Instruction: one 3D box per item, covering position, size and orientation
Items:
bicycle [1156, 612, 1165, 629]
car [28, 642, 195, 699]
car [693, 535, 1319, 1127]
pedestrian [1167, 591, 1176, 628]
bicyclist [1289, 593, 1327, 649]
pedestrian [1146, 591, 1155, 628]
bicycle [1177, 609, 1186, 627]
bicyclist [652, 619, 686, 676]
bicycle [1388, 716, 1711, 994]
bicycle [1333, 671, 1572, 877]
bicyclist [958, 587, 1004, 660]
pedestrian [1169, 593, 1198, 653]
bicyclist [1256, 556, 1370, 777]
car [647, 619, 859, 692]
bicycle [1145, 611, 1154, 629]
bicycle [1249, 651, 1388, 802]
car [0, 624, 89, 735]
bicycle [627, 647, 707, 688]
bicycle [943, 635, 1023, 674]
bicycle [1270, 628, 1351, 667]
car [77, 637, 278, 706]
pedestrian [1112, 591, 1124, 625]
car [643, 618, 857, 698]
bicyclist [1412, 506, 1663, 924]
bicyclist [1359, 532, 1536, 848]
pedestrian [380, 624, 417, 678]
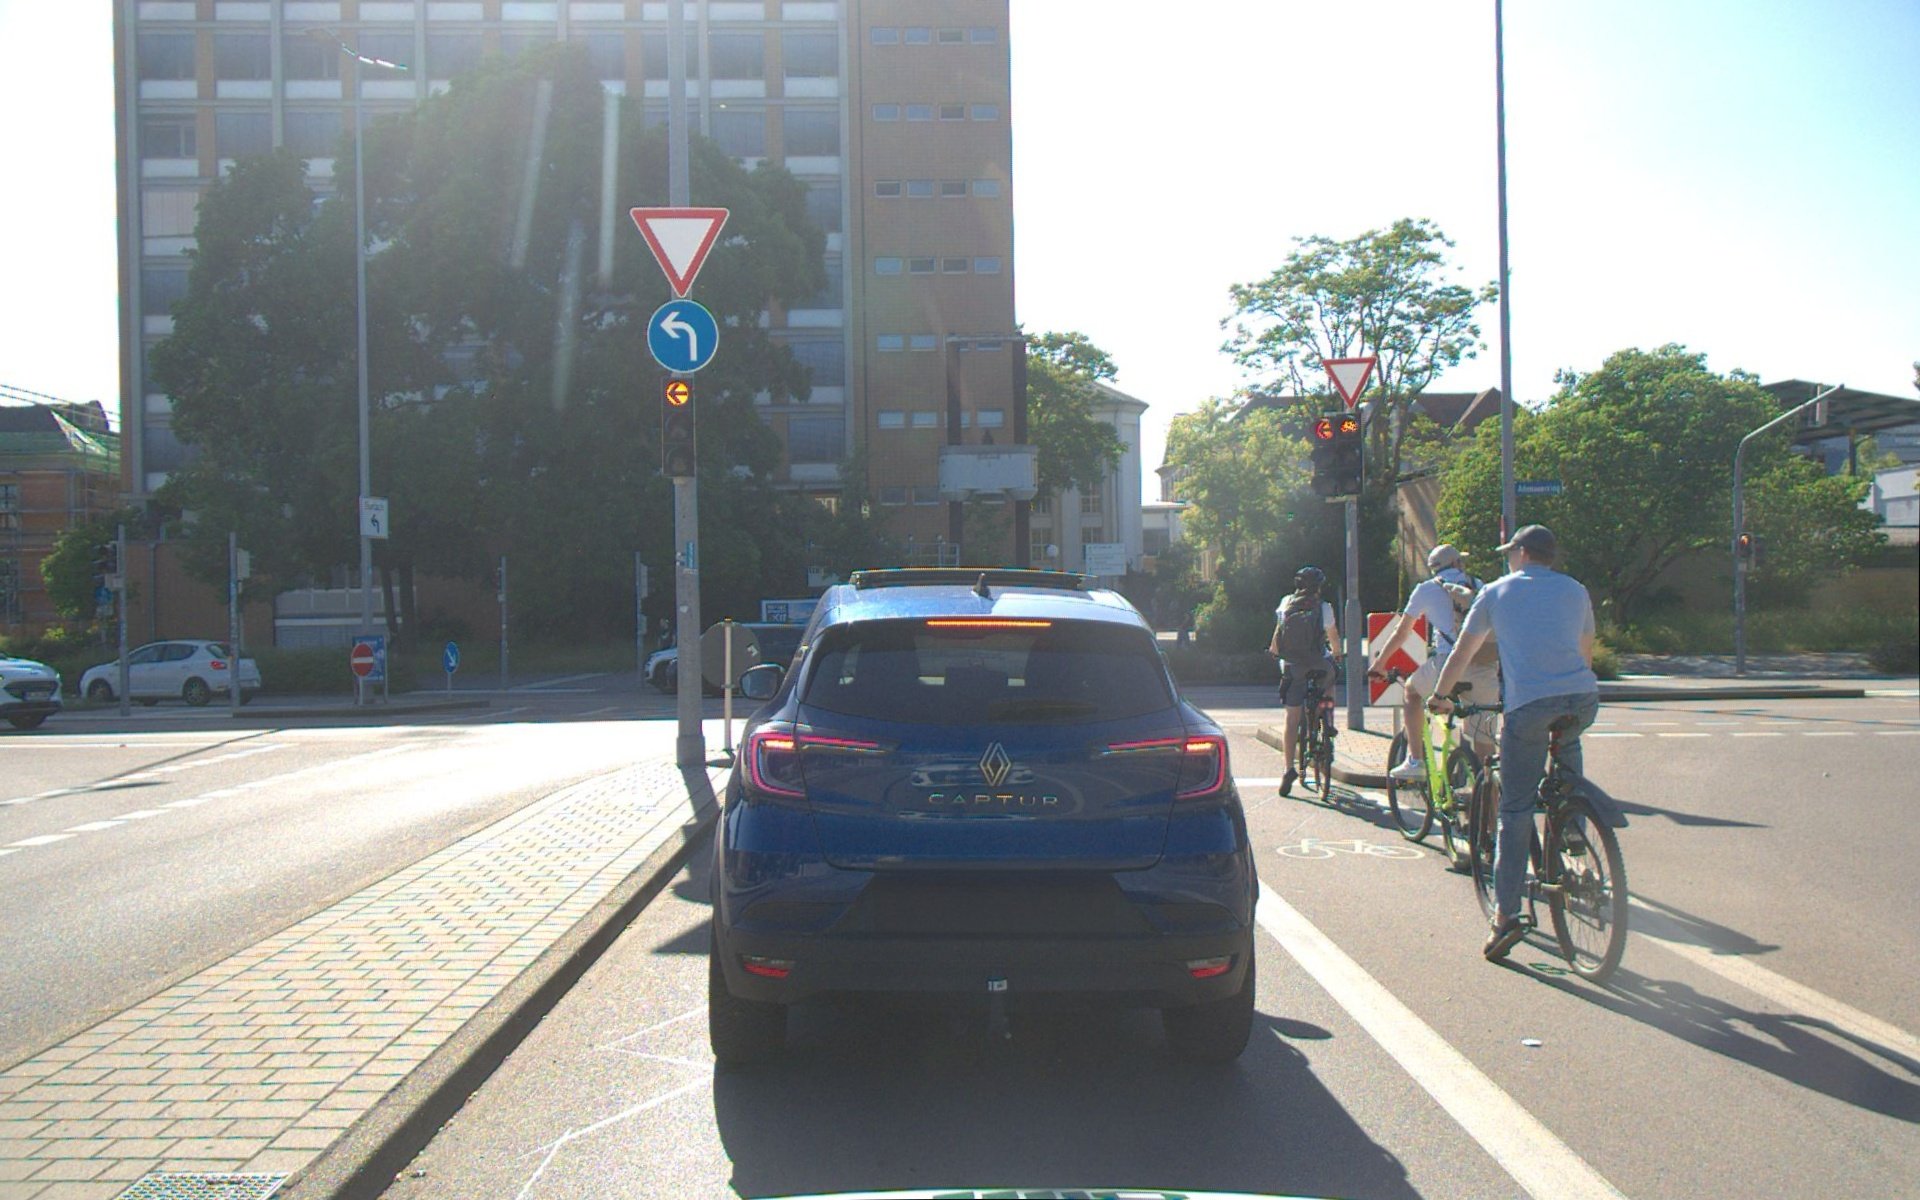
[{"bbox_3d":[11.400,1.155,94.193,0.397,0.990,1.684,1,0,3],"label":"bicycle"},{"bbox_3d":[-22.601,1.885,44.104,3.754,1.460,1.744,-1,-2,15],"label":"car"},{"bbox_3d":[0.056,0.659,6.686,1.767,1.660,3.998,1,0,-3],"label":"car"},{"bbox_3d":[11.823,0.539,92.566,0.465,2.049,0.468,-1,0,5],"label":"pedestrian"},{"bbox_3d":[9.173,0.543,43.585,0.916,1.454,0.599,-1,0,9],"label":"bicyclist"},{"bbox_3d":[10.507,0.511,91.215,0.465,2.049,0.523,-1,0,5],"label":"pedestrian"},{"bbox_3d":[12.676,1.033,94.593,0.397,0.990,1.684,1,0,3],"label":"bicycle"},{"bbox_3d":[-7.676,1.242,43.650,0.728,1.466,0.593,-1,0,-27],"label":"bicyclist"},{"bbox_3d":[2.498,1.039,7.278,0.725,0.911,1.978,1,0,0],"label":"bicycle"},{"bbox_3d":[2.866,0.979,9.849,0.646,1.020,1.967,1,0,-6],"label":"bicycle"},{"bbox_3d":[0.566,0.610,44.068,1.078,1.899,0.653,-1,1,10],"label":"bicyclist"},{"bbox_3d":[6.115,0.627,45.278,0.721,1.631,0.599,-1,0,12],"label":"pedestrian"},{"bbox_3d":[2.754,0.502,12.979,0.711,1.657,0.969,1,0,3],"label":"bicyclist"},{"bbox_3d":[-4.976,1.326,39.914,4.720,1.660,1.846,-1,0,11],"label":"car"},{"bbox_3d":[10.791,1.145,94.227,0.397,0.990,1.684,1,0,3],"label":"bicycle"},{"bbox_3d":[2.756,0.937,12.928,0.723,1.012,2.174,1,0,3],"label":"bicycle"},{"bbox_3d":[-16.342,1.318,25.987,4.586,1.647,1.845,-3,-3,12],"label":"car"},{"bbox_3d":[-7.724,1.766,43.623,1.982,0.981,0.593,-1,0,-28],"label":"bicycle"},{"bbox_3d":[0.618,1.441,44.033,2.037,0.946,0.697,-2,1,10],"label":"bicycle"},{"bbox_3d":[9.220,1.244,43.584,2.032,0.981,0.599,-1,0,9],"label":"bicycle"},{"bbox_3d":[-17.525,1.596,37.086,3.754,1.460,1.744,-1,0,11],"label":"car"},{"bbox_3d":[8.768,0.433,91.719,0.611,1.888,0.563,-1,0,0],"label":"pedestrian"},{"bbox_3d":[-4.586,1.271,36.313,4.279,1.660,1.846,-1,0,13],"label":"car"},{"bbox_3d":[2.503,0.473,7.275,0.736,1.698,1.016,1,0,0],"label":"bicyclist"},{"bbox_3d":[2.877,0.510,9.845,0.633,1.769,1.065,1,0,-6],"label":"bicyclist"},{"bbox_3d":[-17.383,1.572,51.223,0.841,1.598,0.560,-4,0,13],"label":"pedestrian"}]
